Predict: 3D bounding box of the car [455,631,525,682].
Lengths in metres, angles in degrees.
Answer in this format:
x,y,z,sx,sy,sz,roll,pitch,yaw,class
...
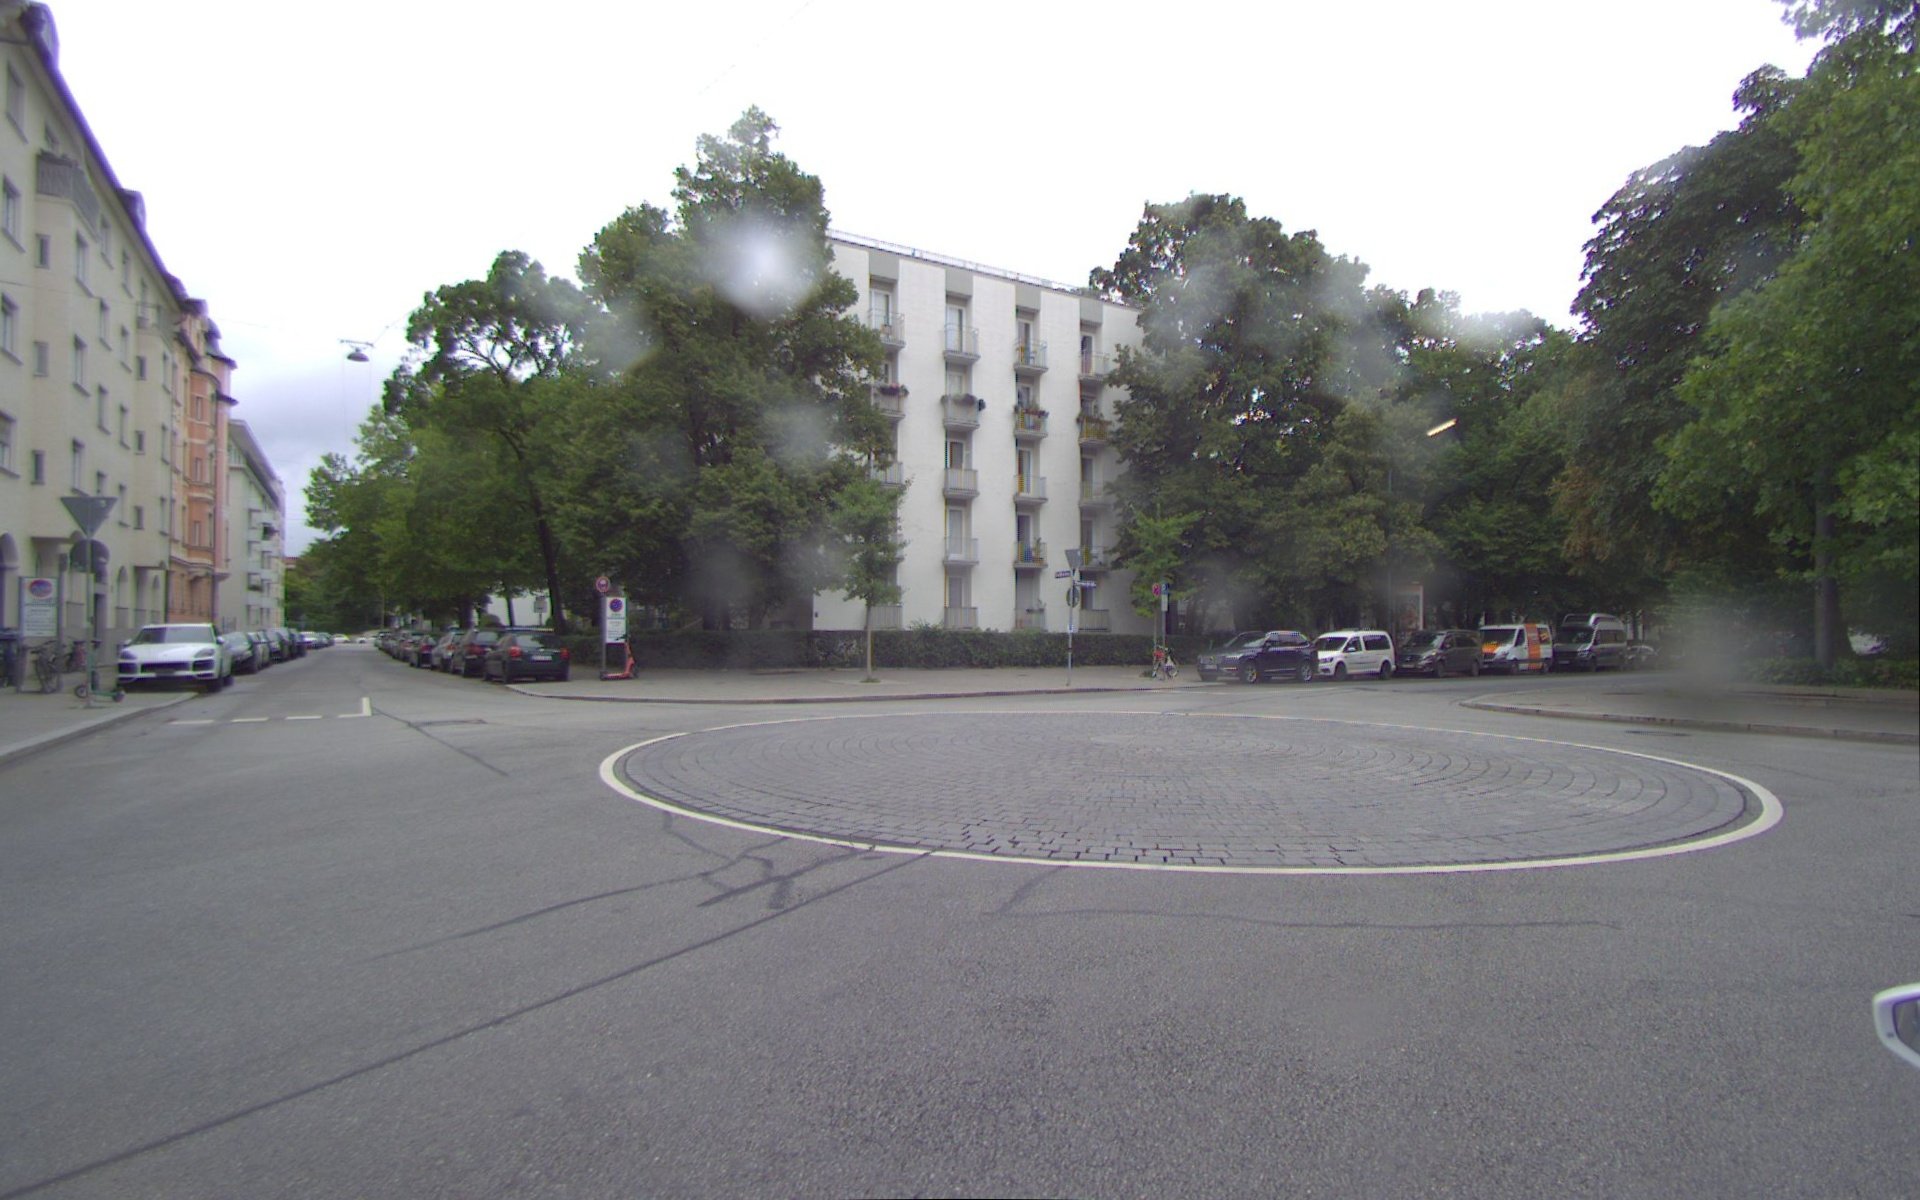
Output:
x,y,z,sx,sy,sz,roll,pitch,yaw,class
-15.635,1.836,33.331,1.657,1.548,3.645,-1,-1,-32,car

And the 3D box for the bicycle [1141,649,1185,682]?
x,y,z,sx,sy,sz,roll,pitch,yaw,class
7.118,2.289,35.183,0.743,1.099,1.775,-2,-3,42,bicycle

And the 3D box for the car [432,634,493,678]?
x,y,z,sx,sy,sz,roll,pitch,yaw,class
-18.434,2.038,37.161,1.657,1.476,3.645,-1,-1,-32,car

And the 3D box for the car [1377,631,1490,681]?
x,y,z,sx,sy,sz,roll,pitch,yaw,class
19.669,2.321,41.608,5.620,1.933,2.010,2,-4,-40,car

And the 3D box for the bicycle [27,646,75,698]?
x,y,z,sx,sy,sz,roll,pitch,yaw,class
-20.068,1.557,22.204,0.648,1.083,1.954,2,-3,-39,bicycle

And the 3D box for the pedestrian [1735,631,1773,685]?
x,y,z,sx,sy,sz,roll,pitch,yaw,class
27.872,2.030,35.285,0.807,1.860,0.951,-1,-2,25,pedestrian

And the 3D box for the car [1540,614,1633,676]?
x,y,z,sx,sy,sz,roll,pitch,yaw,class
32.133,2.303,51.443,6.180,3.042,2.156,2,-3,-39,car

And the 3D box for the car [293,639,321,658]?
x,y,z,sx,sy,sz,roll,pitch,yaw,class
-57.604,4.283,88.665,1.931,1.660,3.967,1,-2,-31,car

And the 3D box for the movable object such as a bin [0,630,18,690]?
x,y,z,sx,sy,sz,roll,pitch,yaw,class
-23.094,1.402,23.574,1.134,1.389,1.172,1,-2,-29,movable object such as a bin

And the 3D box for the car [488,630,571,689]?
x,y,z,sx,sy,sz,roll,pitch,yaw,class
-12.560,1.672,29.191,1.657,1.548,3.645,-1,-1,-32,car

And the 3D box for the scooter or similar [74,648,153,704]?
x,y,z,sx,sy,sz,roll,pitch,yaw,class
-17.338,1.546,20.580,1.319,1.123,0.543,0,-2,14,scooter or similar

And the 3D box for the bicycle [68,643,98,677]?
x,y,z,sx,sy,sz,roll,pitch,yaw,class
-28.989,1.976,33.226,0.648,1.083,1.794,2,-3,-39,bicycle

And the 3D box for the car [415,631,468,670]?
x,y,z,sx,sy,sz,roll,pitch,yaw,class
-21.484,2.050,41.531,1.657,1.476,3.645,-1,-1,-32,car

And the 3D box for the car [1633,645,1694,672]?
x,y,z,sx,sy,sz,roll,pitch,yaw,class
40.868,3.373,58.304,4.097,1.439,1.976,2,-3,-41,car

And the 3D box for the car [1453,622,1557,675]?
x,y,z,sx,sy,sz,roll,pitch,yaw,class
25.022,2.246,46.026,5.552,2.294,2.069,2,-4,-38,car

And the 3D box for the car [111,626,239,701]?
x,y,z,sx,sy,sz,roll,pitch,yaw,class
-19.640,1.535,25.354,1.978,1.698,4.948,2,-3,-32,car

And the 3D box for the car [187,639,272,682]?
x,y,z,sx,sy,sz,roll,pitch,yaw,class
-24.980,2.030,34.489,1.978,1.376,4.440,2,-3,-32,car

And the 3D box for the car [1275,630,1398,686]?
x,y,z,sx,sy,sz,roll,pitch,yaw,class
14.065,2.130,37.418,4.814,1.928,2.069,2,-3,-37,car

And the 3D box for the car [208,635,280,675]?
x,y,z,sx,sy,sz,roll,pitch,yaw,class
-27.479,2.077,38.667,1.978,1.469,4.145,2,-3,-32,car

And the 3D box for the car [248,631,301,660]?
x,y,z,sx,sy,sz,roll,pitch,yaw,class
-34.548,2.270,50.700,1.978,1.393,4.145,2,-3,-32,car

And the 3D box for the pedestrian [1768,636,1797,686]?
x,y,z,sx,sy,sz,roll,pitch,yaw,class
28.038,2.077,34.254,0.624,1.689,0.696,-1,-2,30,pedestrian

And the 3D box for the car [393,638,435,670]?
x,y,z,sx,sy,sz,roll,pitch,yaw,class
-27.675,2.712,50.848,1.657,1.476,3.645,-1,-1,-32,car

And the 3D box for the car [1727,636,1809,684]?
x,y,z,sx,sy,sz,roll,pitch,yaw,class
34.942,2.562,43.393,4.929,1.962,1.895,2,-3,-40,car

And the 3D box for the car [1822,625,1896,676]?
x,y,z,sx,sy,sz,roll,pitch,yaw,class
47.227,2.635,52.728,5.382,2.591,1.979,2,-3,-38,car

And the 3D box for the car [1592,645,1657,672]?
x,y,z,sx,sy,sz,roll,pitch,yaw,class
36.439,3.185,55.046,3.969,1.439,1.976,2,-3,-41,car

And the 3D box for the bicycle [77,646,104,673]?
x,y,z,sx,sy,sz,roll,pitch,yaw,class
-30.586,2.069,35.341,0.648,0.914,1.794,2,-3,-39,bicycle

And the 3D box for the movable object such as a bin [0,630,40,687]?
x,y,z,sx,sy,sz,roll,pitch,yaw,class
-23.574,1.423,24.676,1.134,1.389,1.172,1,-2,-29,movable object such as a bin

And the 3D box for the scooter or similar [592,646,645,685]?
x,y,z,sx,sy,sz,roll,pitch,yaw,class
-9.536,1.817,28.093,1.302,1.037,0.522,2,-3,-44,scooter or similar

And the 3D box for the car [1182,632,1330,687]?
x,y,z,sx,sy,sz,roll,pitch,yaw,class
10.107,1.996,34.141,5.253,1.741,2.070,2,-3,-36,car

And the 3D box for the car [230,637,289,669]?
x,y,z,sx,sy,sz,roll,pitch,yaw,class
-32.517,2.449,46.714,1.978,1.393,4.145,2,-3,-32,car
